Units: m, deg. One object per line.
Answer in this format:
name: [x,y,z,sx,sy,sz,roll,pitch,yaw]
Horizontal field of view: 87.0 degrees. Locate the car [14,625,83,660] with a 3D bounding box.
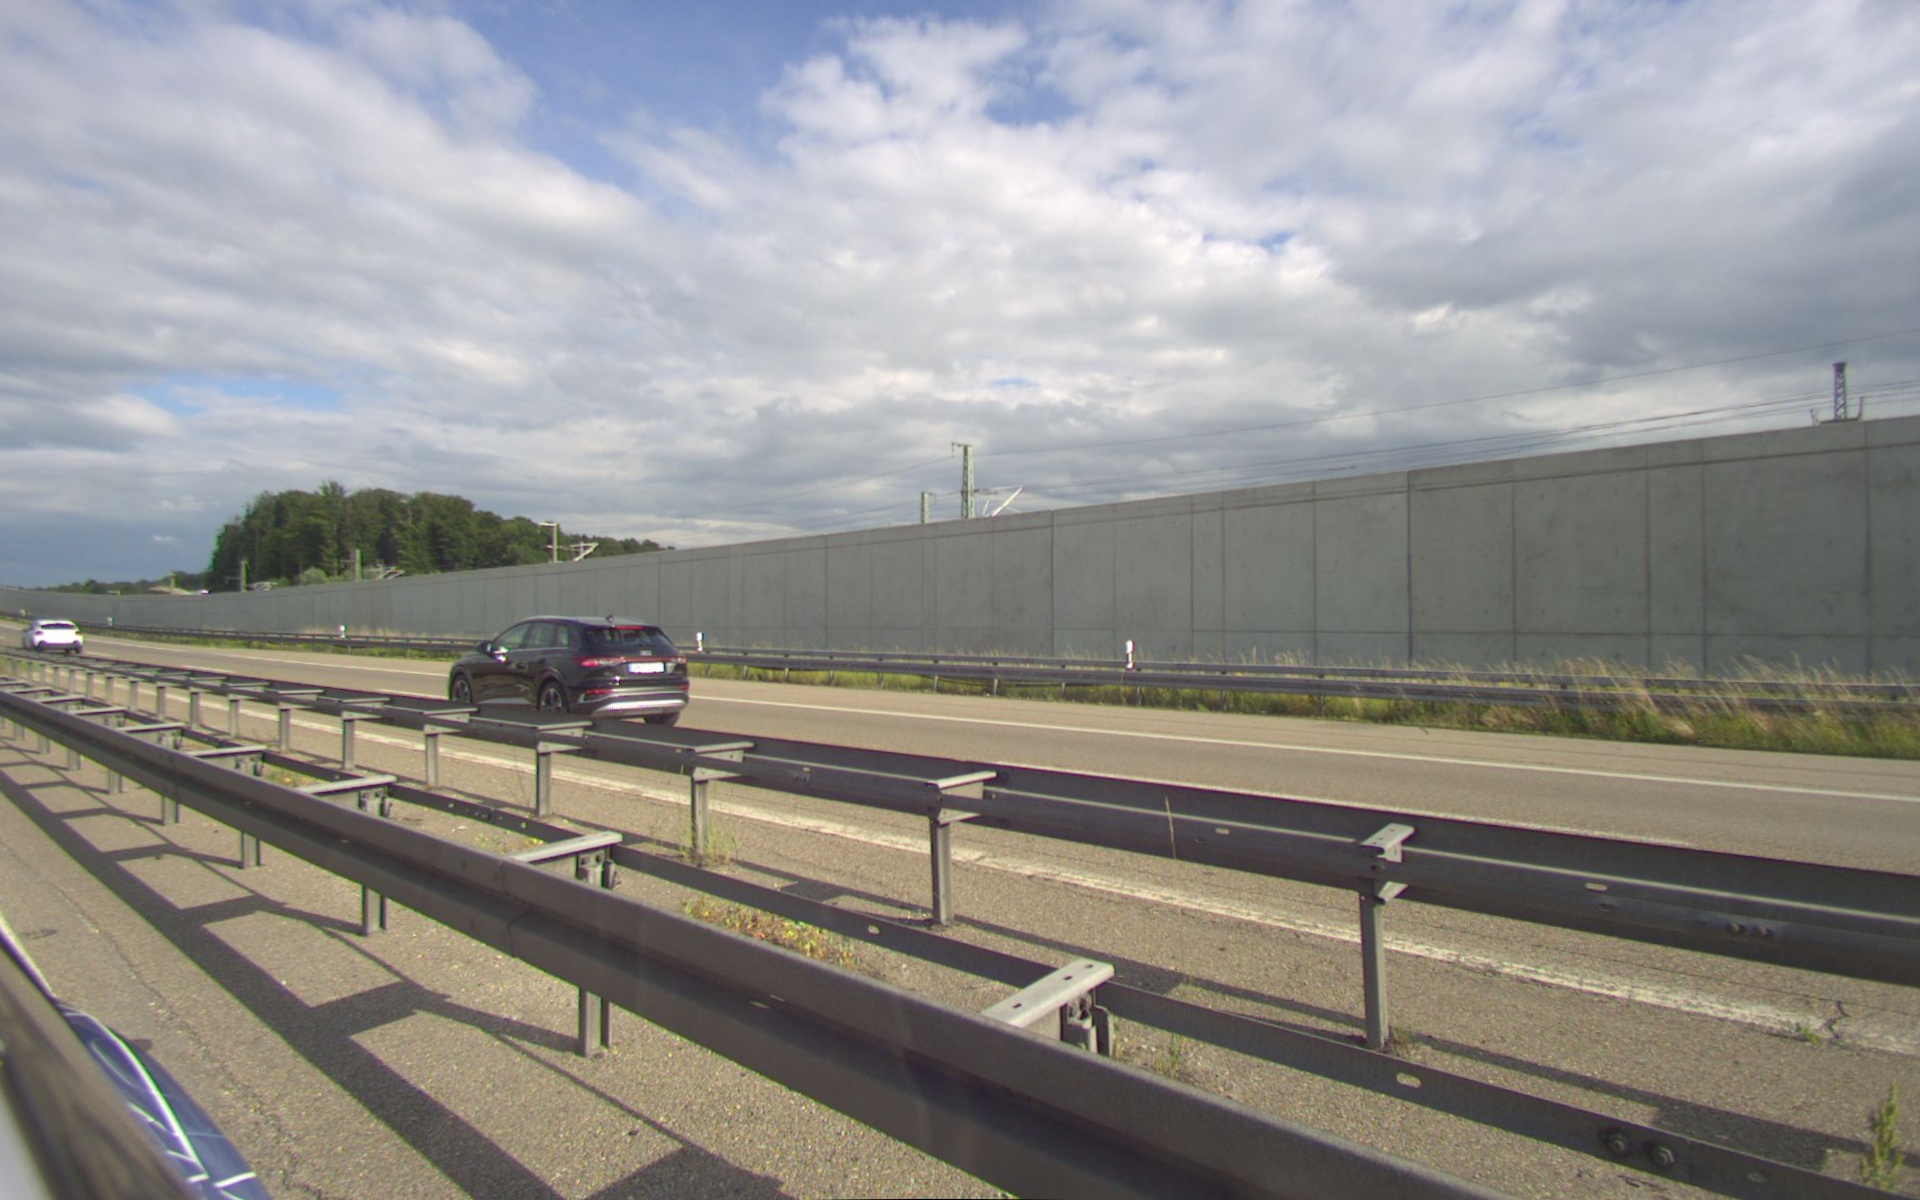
car: [-40.484,1.853,44.918,4.446,1.474,1.699,-1,-2,40]

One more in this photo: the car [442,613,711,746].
car: [-5.570,1.016,14.422,4.447,1.607,1.698,-2,-2,41]
